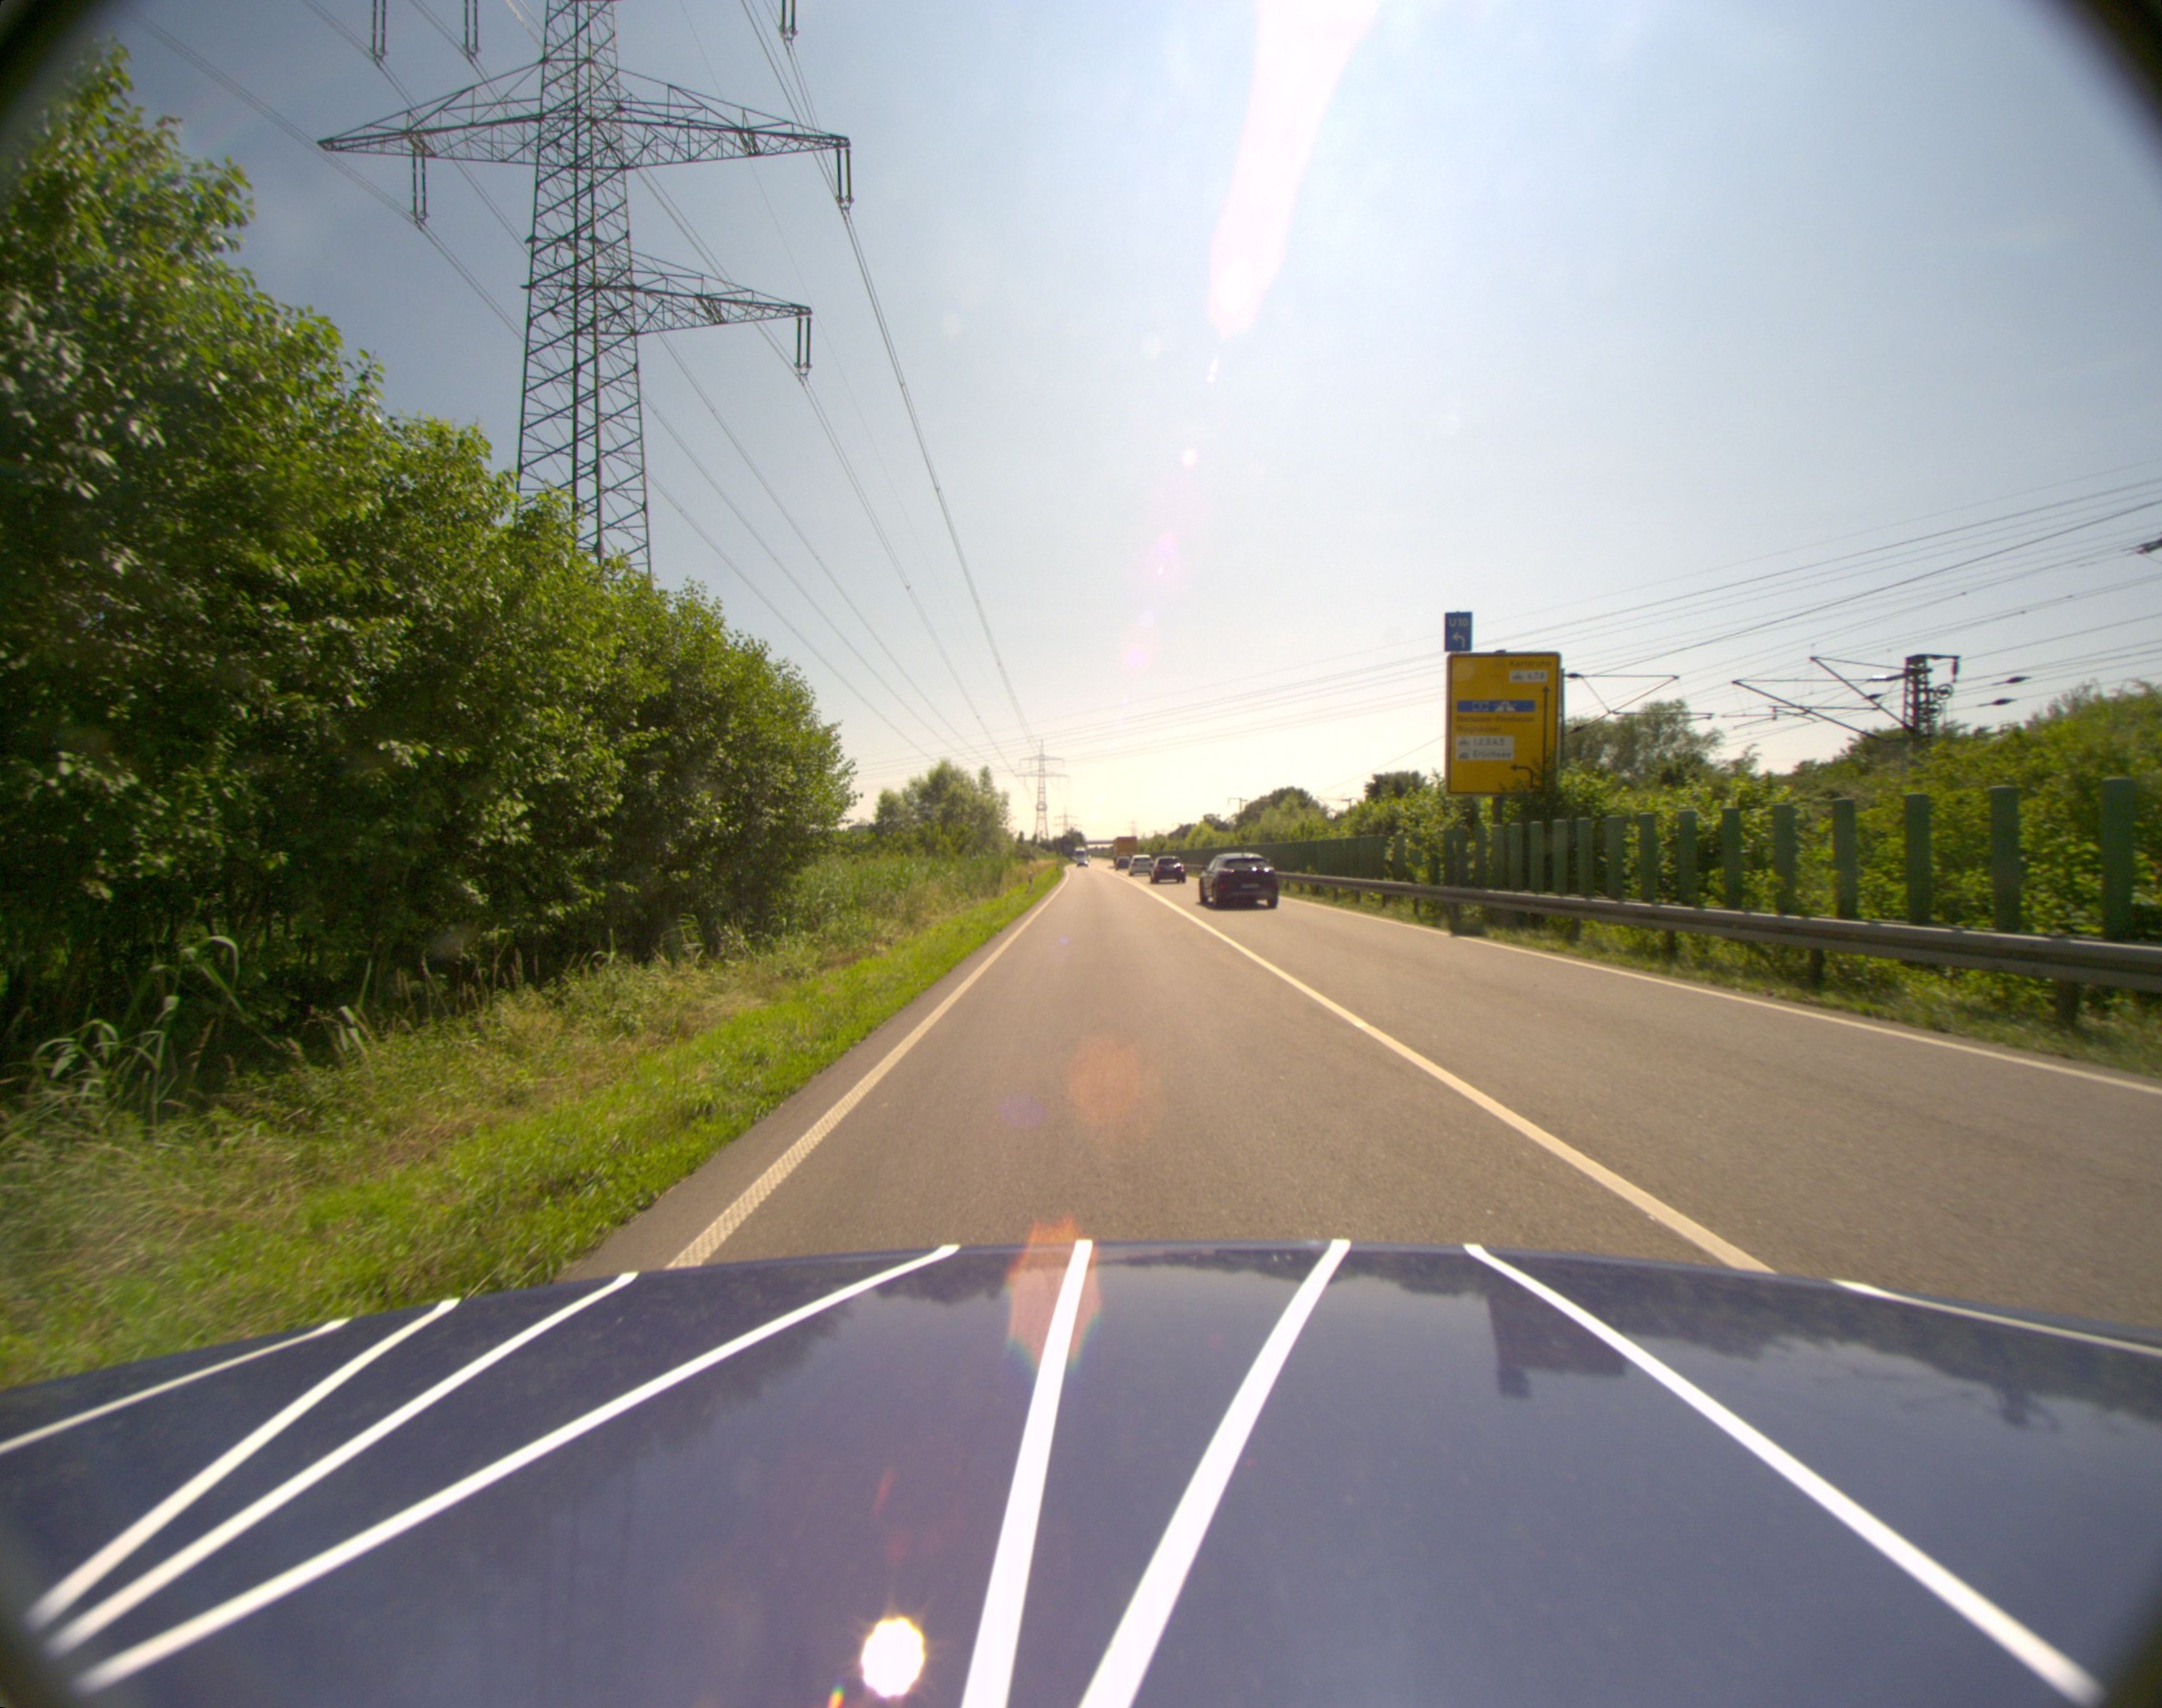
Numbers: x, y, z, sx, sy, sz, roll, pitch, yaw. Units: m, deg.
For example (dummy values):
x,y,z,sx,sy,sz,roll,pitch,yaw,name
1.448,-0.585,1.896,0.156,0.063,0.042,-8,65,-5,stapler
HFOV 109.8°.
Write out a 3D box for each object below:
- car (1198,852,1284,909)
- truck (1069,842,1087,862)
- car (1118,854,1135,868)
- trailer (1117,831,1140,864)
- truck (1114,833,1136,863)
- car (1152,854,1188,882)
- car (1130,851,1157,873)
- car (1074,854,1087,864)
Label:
x,y,z,sx,sy,sz,roll,pitch,yaw,name
4.657,0.725,22.737,1.677,1.506,4.289,-2,0,1,car
-0.757,-0.433,194.267,4.219,4.608,21.303,-2,0,0,truck
4.803,0.753,80.798,1.618,1.433,3.794,-1,0,0,car
6.276,-0.794,101.555,2.554,4.120,9.228,-2,0,1,trailer
6.396,-0.811,111.490,2.554,4.104,10.604,-2,0,1,truck
4.857,0.750,41.650,1.510,1.426,3.742,-2,0,0,car
4.850,0.626,59.253,1.829,1.596,4.323,-2,0,2,car
-0.058,0.725,114.855,1.998,1.346,4.157,-2,1,0,car
